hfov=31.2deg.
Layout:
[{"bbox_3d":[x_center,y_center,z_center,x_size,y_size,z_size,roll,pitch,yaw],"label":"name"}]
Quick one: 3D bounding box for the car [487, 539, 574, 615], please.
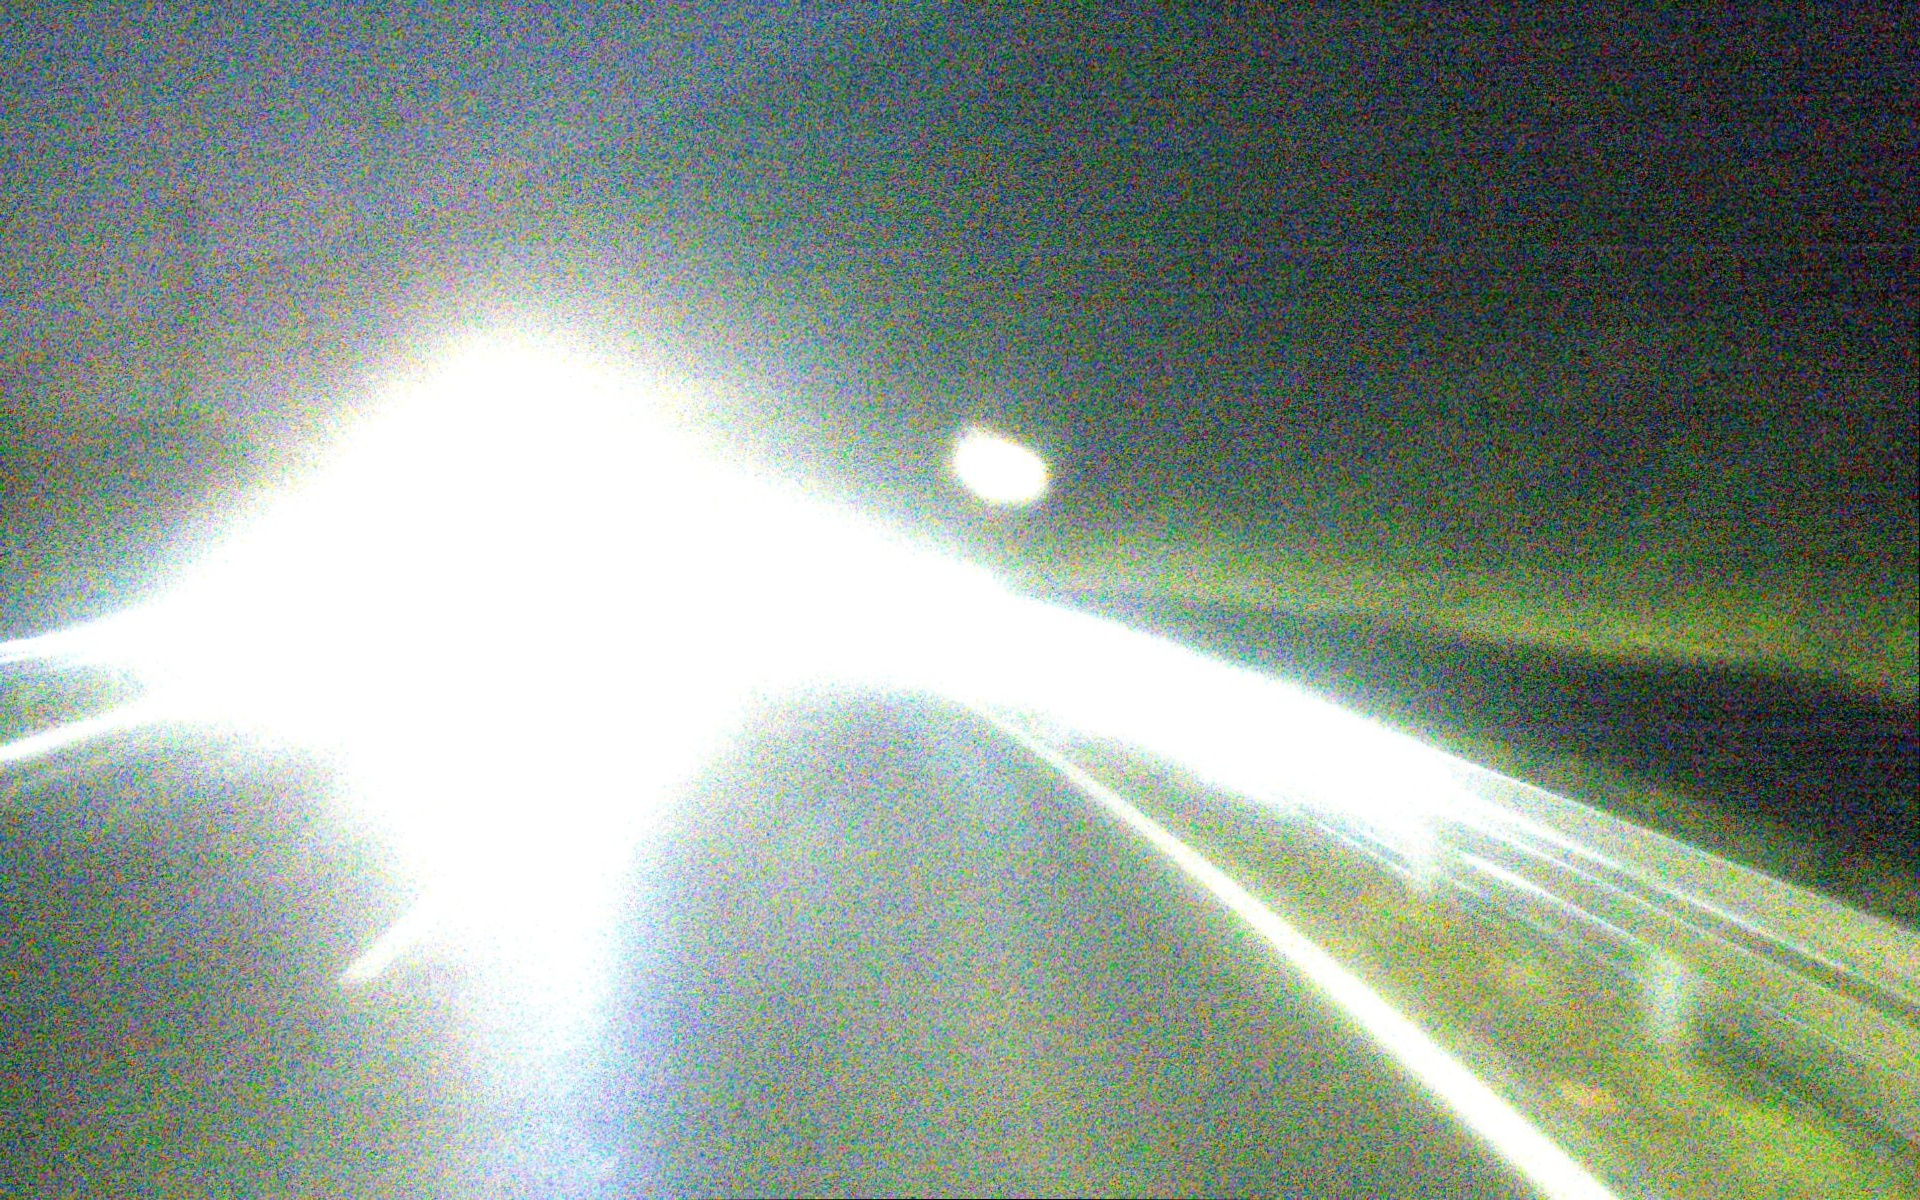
[{"bbox_3d":[-8.705,-0.484,69.864,1.701,1.501,3.684,0,1,-6],"label":"car"}]
